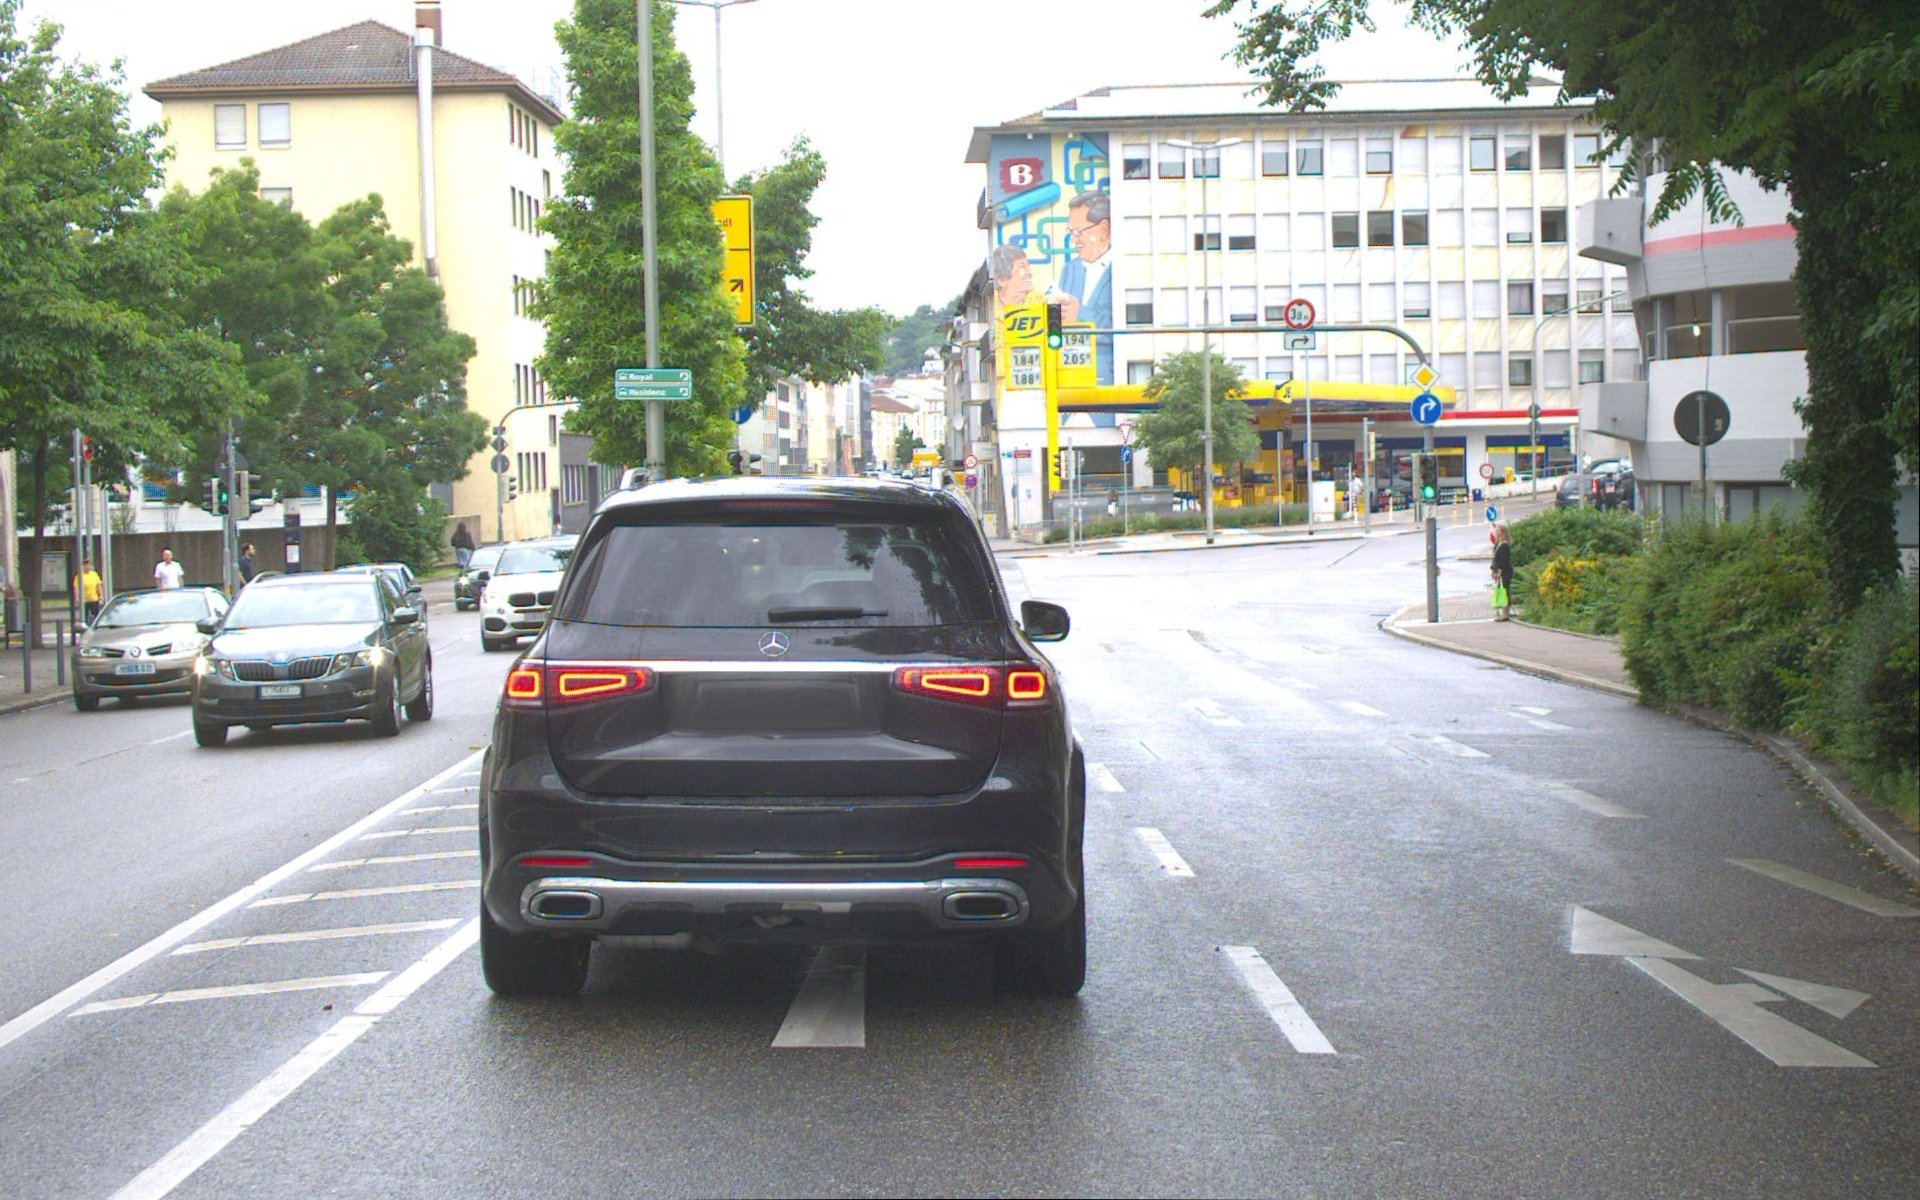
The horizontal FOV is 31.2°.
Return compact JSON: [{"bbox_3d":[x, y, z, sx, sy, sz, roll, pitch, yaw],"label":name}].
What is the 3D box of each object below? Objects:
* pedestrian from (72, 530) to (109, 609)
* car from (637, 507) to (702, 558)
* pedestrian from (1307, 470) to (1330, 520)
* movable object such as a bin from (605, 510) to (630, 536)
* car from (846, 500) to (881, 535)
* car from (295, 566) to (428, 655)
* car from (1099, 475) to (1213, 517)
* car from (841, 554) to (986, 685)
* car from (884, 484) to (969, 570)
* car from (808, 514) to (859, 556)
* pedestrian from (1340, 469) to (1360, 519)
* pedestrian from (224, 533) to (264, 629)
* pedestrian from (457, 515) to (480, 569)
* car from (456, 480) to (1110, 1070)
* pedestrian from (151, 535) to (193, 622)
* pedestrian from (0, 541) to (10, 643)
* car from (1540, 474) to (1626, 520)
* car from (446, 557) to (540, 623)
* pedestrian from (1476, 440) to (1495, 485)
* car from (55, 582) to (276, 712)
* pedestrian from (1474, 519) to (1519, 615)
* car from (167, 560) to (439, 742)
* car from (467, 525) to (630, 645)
[{"bbox_3d":[-16.909,-0.596,66.871,0.439,1.528,0.545,-1,2,14],"label":"pedestrian"},{"bbox_3d":[-9.806,-2.269,116.281,1.888,1.581,4.537,-3,1,-2],"label":"car"},{"bbox_3d":[12.313,-3.605,118.162,0.527,1.721,0.688,0,2,29],"label":"pedestrian"},{"bbox_3d":[-13.695,-3.077,137.434,0.910,1.034,0.844,1,0,1],"label":"movable object such as a bin"},{"bbox_3d":[-5.853,-5.012,209.145,1.993,2.007,4.000,1,0,0],"label":"car"},{"bbox_3d":[-10.532,0.168,60.695,1.745,1.407,3.971,-3,1,-2],"label":"car"},{"bbox_3d":[7.111,-3.777,124.914,1.732,1.371,3.998,-3,2,-44],"label":"car"},{"bbox_3d":[-0.673,0.267,49.720,1.993,1.794,4.000,1,0,-1],"label":"car"},{"bbox_3d":[-0.835,-1.764,84.321,1.993,2.007,4.000,1,0,-1],"label":"car"},{"bbox_3d":[-5.158,-2.629,139.710,1.993,1.609,4.190,1,0,-3],"label":"car"},{"bbox_3d":[13.249,-3.596,116.764,0.572,1.692,0.631,1,0,1],"label":"pedestrian"},{"bbox_3d":[-13.356,-0.359,64.124,0.687,1.751,0.718,-1,1,-11],"label":"pedestrian"},{"bbox_3d":[-15.624,-1.848,109.310,0.648,1.721,0.629,-2,1,-4],"label":"pedestrian"},{"bbox_3d":[-0.566,0.532,12.595,1.993,1.794,4.000,1,0,-1],"label":"car"},{"bbox_3d":[-15.285,-0.415,66.711,0.689,1.650,0.613,-2,2,-7],"label":"pedestrian"},{"bbox_3d":[-16.055,-0.138,56.575,0.642,1.660,1.019,1,0,-6],"label":"pedestrian"},{"bbox_3d":[21.568,-3.552,118.930,1.799,1.520,4.050,2,2,27],"label":"car"},{"bbox_3d":[-10.709,-0.253,78.984,1.732,1.389,4.200,-3,1,-3],"label":"car"},{"bbox_3d":[20.319,-5.303,132.954,0.526,1.721,0.688,0,2,26],"label":"pedestrian"},{"bbox_3d":[-9.674,0.535,42.167,1.829,1.383,4.230,-3,1,-2],"label":"car"},{"bbox_3d":[9.640,-0.591,61.770,0.646,1.704,0.470,0,0,36],"label":"pedestrian"},{"bbox_3d":[-5.940,0.419,31.534,1.811,1.457,4.289,-3,1,-3],"label":"car"},{"bbox_3d":[-6.725,-0.279,56.669,1.891,1.805,4.574,-3,1,2],"label":"car"}]
